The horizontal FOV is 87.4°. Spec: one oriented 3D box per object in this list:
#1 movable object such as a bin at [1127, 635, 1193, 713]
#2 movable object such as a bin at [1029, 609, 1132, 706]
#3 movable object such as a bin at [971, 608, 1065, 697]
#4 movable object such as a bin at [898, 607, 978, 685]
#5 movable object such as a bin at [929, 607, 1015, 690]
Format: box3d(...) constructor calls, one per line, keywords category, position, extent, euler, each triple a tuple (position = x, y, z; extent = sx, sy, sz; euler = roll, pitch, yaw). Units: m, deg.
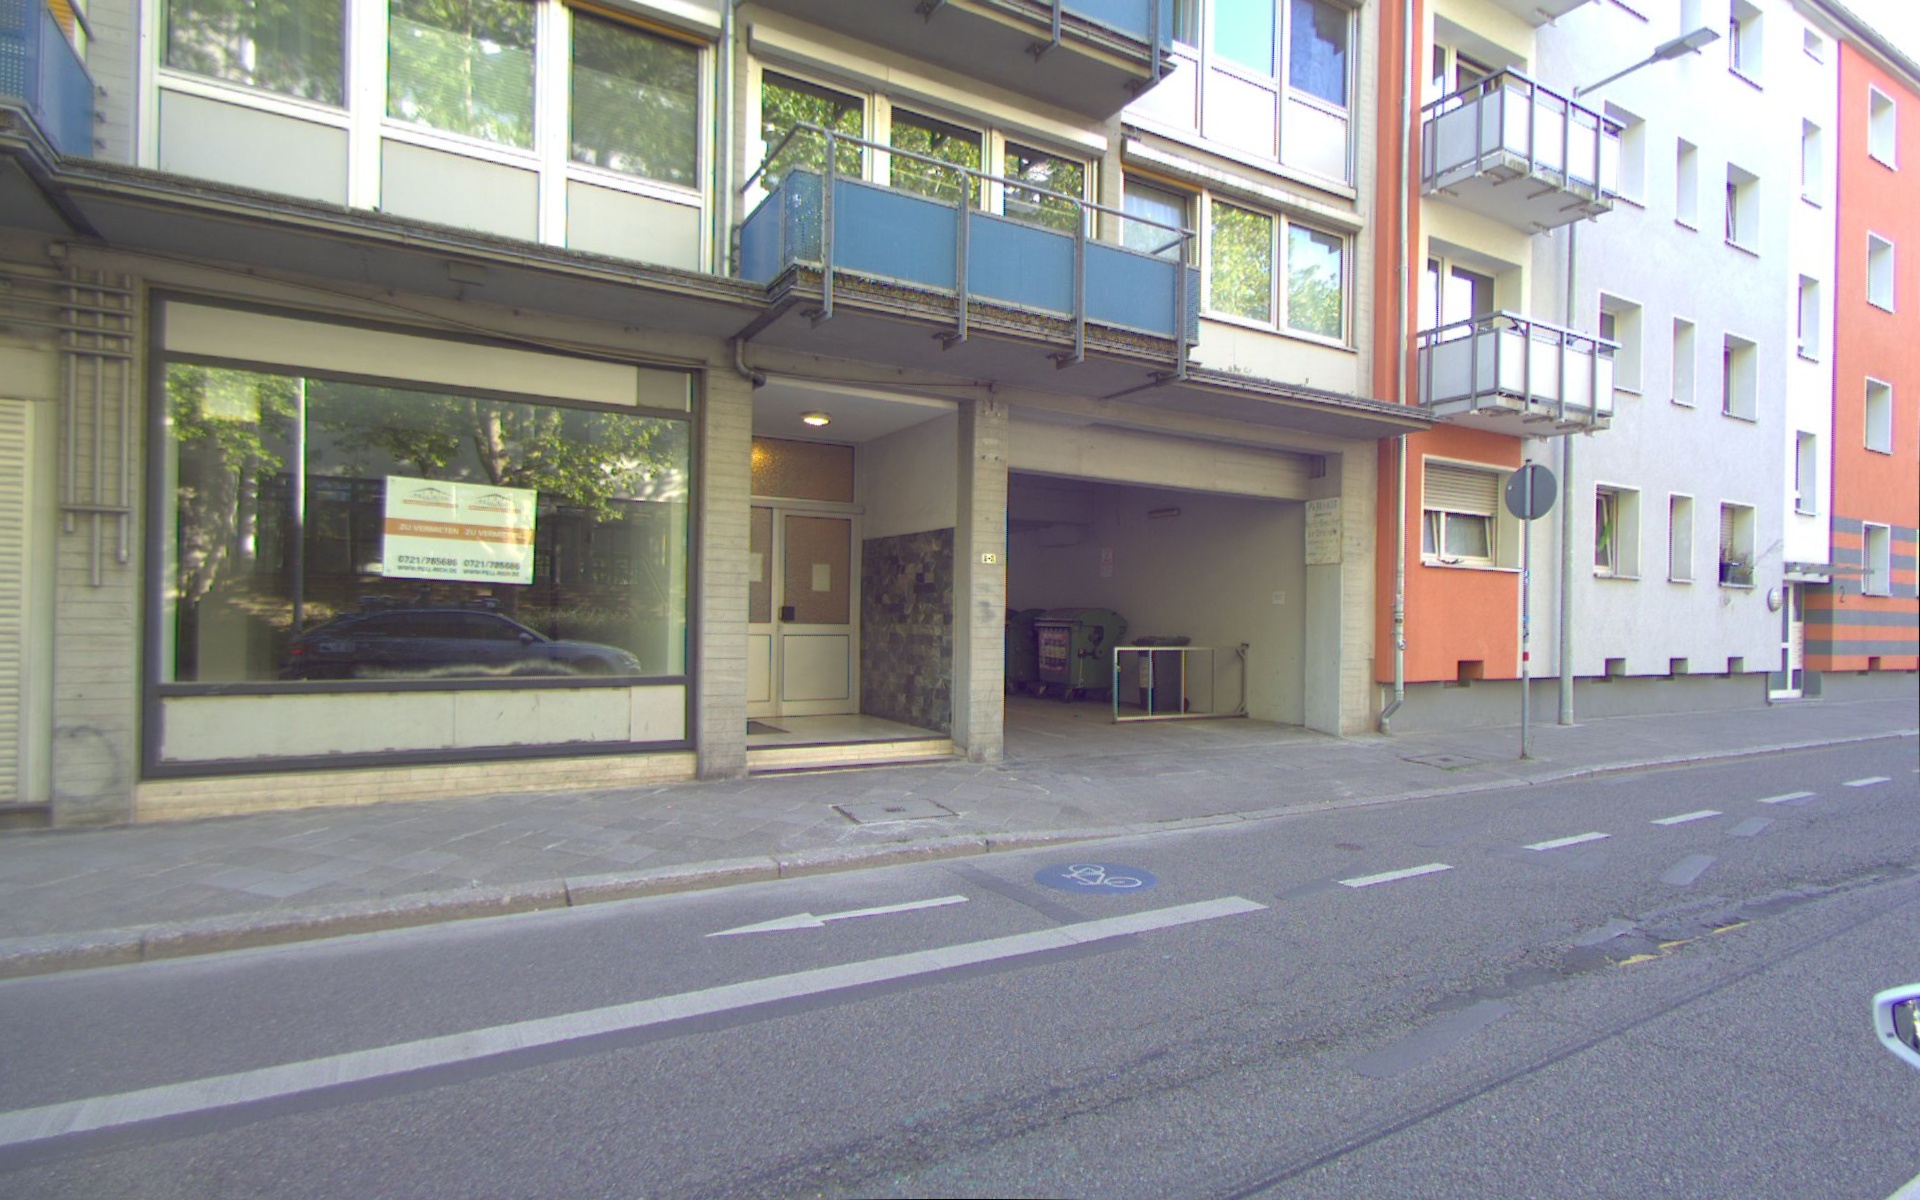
box3d(category="movable object such as a bin", position=(2.885, 1.051, 14.500), extent=(0.667, 1.079, 0.639), euler=(1, 0, -30))
box3d(category="movable object such as a bin", position=(1.887, 0.869, 15.810), extent=(1.116, 1.444, 1.201), euler=(1, 0, -30))
box3d(category="movable object such as a bin", position=(0.976, 0.864, 17.169), extent=(1.116, 1.444, 1.201), euler=(1, 0, -30))
box3d(category="movable object such as a bin", position=(-0.442, 0.877, 19.616), extent=(1.116, 1.444, 1.201), euler=(1, 0, -30))
box3d(category="movable object such as a bin", position=(0.205, 0.870, 18.468), extent=(1.116, 1.444, 1.201), euler=(1, 0, -30))
